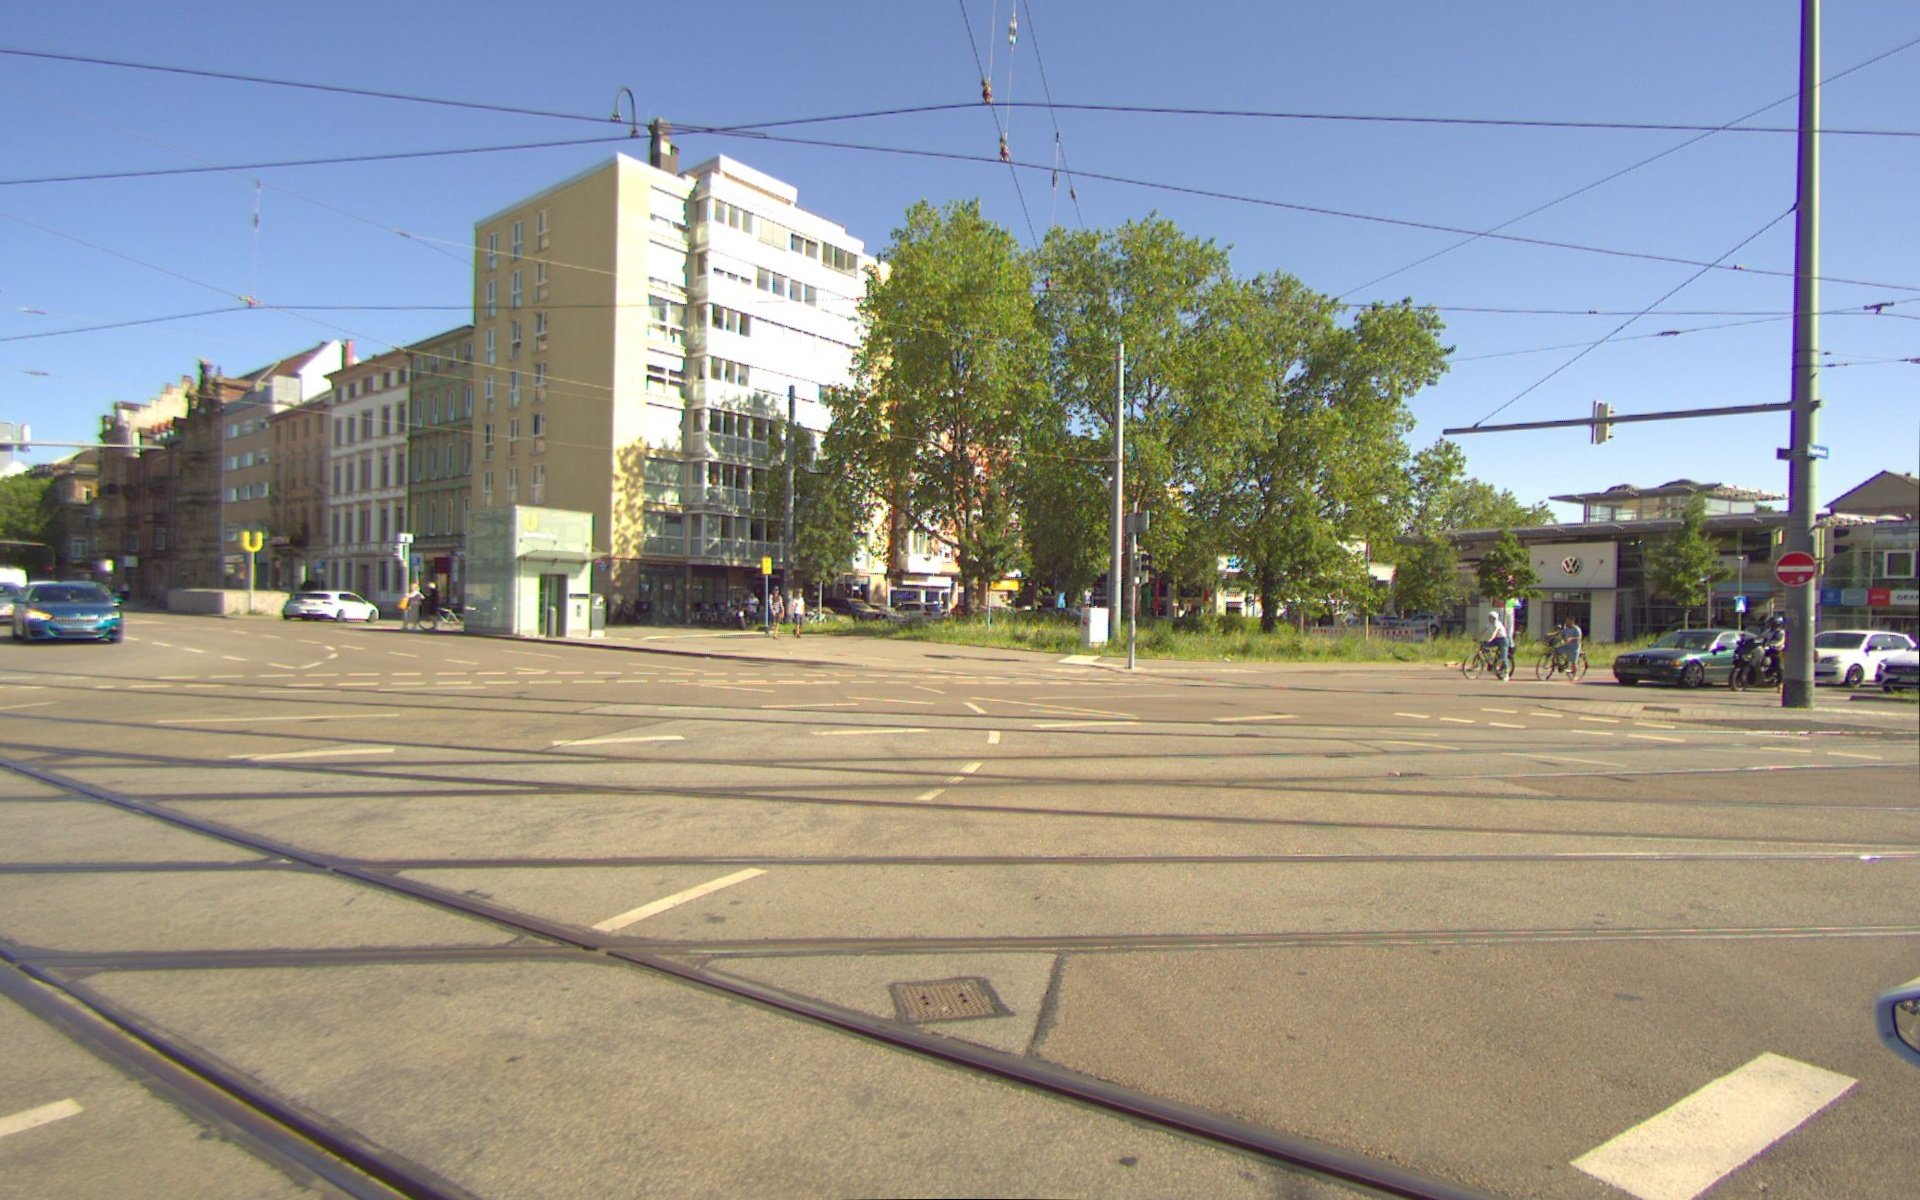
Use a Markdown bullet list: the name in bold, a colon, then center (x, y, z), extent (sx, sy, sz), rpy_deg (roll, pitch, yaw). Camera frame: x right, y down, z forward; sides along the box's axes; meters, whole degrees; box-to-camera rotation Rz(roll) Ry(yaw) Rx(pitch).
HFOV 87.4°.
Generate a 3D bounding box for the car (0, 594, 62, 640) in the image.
- **car**: center (-31.522, 0.522, 33.110), extent (3.932, 1.379, 1.909), rpy_deg (1, 0, 33)

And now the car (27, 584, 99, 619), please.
- **car**: center (-38.598, 0.043, 43.178), extent (4.533, 1.346, 1.788), rpy_deg (2, 0, 42)

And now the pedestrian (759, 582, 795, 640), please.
- **pedestrian**: center (-6.626, 0.386, 36.375), extent (0.864, 2.057, 0.846), rpy_deg (1, 2, -45)

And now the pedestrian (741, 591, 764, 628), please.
- **pedestrian**: center (-9.310, 0.420, 45.068), extent (0.744, 1.643, 0.653), rpy_deg (3, 1, 19)

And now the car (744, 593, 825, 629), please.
- **car**: center (-9.357, 0.569, 53.417), extent (3.932, 1.831, 1.994), rpy_deg (1, 0, 34)

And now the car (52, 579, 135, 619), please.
- **car**: center (-32.815, -0.046, 37.989), extent (4.533, 1.346, 1.788), rpy_deg (2, 0, 42)

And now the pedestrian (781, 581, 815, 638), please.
- **pedestrian**: center (-5.980, 0.347, 37.032), extent (0.864, 2.057, 0.846), rpy_deg (1, 2, -45)

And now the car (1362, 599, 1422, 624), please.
- **car**: center (34.534, 0.880, 80.311), extent (1.976, 1.780, 3.969), rpy_deg (2, 1, -29)

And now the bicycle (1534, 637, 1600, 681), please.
- **bicycle**: center (15.779, 1.517, 26.102), extent (1.629, 1.088, 0.537), rpy_deg (1, 0, -19)

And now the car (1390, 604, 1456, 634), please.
- **car**: center (34.663, 1.404, 75.196), extent (1.983, 2.041, 3.955), rpy_deg (1, 2, -38)

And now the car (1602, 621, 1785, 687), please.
- **car**: center (17.777, 1.301, 24.372), extent (3.908, 1.498, 1.648), rpy_deg (2, -1, -18)

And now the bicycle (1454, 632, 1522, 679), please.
- **bicycle**: center (13.778, 1.430, 26.229), extent (1.726, 1.200, 0.537), rpy_deg (1, 0, -19)

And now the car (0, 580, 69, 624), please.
- **car**: center (-31.152, 0.027, 32.902), extent (4.521, 1.346, 1.792), rpy_deg (2, 0, 33)

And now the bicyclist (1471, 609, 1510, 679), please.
- **bicyclist**: center (13.844, 1.137, 26.224), extent (0.667, 1.766, 0.573), rpy_deg (0, 2, -18)

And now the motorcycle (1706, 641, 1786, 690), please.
- **motorcycle**: center (17.592, 1.460, 22.479), extent (1.719, 1.061, 0.518), rpy_deg (1, -1, -17)

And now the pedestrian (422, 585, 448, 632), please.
- **pedestrian**: center (-19.803, 0.321, 37.872), extent (0.711, 1.728, 0.608), rpy_deg (1, 2, -41)

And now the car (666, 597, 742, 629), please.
- **car**: center (-12.783, 0.625, 50.029), extent (3.941, 1.519, 1.734), rpy_deg (1, 0, 41)

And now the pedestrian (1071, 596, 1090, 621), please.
- **pedestrian**: center (10.296, 0.711, 85.786), extent (1.088, 2.041, 1.175), rpy_deg (3, 2, 30)

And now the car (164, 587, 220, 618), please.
- **car**: center (-46.338, 0.146, 60.563), extent (3.942, 1.688, 1.989), rpy_deg (4, 2, 42)

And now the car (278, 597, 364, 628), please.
- **car**: center (-32.602, 0.611, 51.366), extent (1.782, 1.379, 3.999), rpy_deg (2, 1, 0)

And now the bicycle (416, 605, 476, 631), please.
- **bicycle**: center (-19.780, 0.707, 38.677), extent (1.934, 0.934, 0.612), rpy_deg (1, 2, -43)

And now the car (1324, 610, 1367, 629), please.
- **car**: center (39.902, 2.035, 104.028), extent (3.949, 1.822, 1.986), rpy_deg (2, 1, -27)

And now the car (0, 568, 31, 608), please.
- **car**: center (-79.613, -1.005, 83.974), extent (4.843, 3.149, 1.993), rpy_deg (3, 2, 37)

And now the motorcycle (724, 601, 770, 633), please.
- **motorcycle**: center (-9.153, 0.720, 43.039), extent (1.273, 1.193, 2.951), rpy_deg (2, 1, -25)

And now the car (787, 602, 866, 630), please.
- **car**: center (-7.265, 0.863, 54.545), extent (3.932, 1.407, 1.994), rpy_deg (1, 0, 34)

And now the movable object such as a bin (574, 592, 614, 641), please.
- **movable object such as a bin**: center (-13.087, 0.582, 35.939), extent (0.976, 1.656, 0.933), rpy_deg (3, 2, 38)

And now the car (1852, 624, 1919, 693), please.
- **car**: center (23.324, 1.399, 23.386), extent (4.469, 1.451, 1.801), rpy_deg (2, 1, -18)

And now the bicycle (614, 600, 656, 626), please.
- **bicycle**: center (-16.327, 0.661, 50.511), extent (0.609, 1.233, 1.939), rpy_deg (3, 2, 40)

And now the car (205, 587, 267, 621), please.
- **car**: center (-39.908, 0.216, 55.346), extent (3.942, 1.688, 1.989), rpy_deg (4, 2, 42)

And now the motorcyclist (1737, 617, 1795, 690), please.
- **motorcyclist**: center (18.178, 1.209, 22.657), extent (0.928, 1.600, 0.585), rpy_deg (2, -1, -17)

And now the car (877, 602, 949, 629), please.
- **car**: center (-2.868, 0.900, 60.700), extent (3.932, 1.519, 1.994), rpy_deg (1, 0, 34)

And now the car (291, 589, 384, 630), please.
- **car**: center (-29.952, 0.409, 48.492), extent (1.961, 1.776, 3.999), rpy_deg (2, 1, 0)

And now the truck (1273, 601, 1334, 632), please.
- **truck**: center (26.987, 1.283, 79.061), extent (1.978, 2.251, 4.179), rpy_deg (2, 1, -32)

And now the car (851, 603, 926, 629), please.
- **car**: center (-4.195, 0.920, 58.779), extent (3.932, 1.407, 1.994), rpy_deg (1, 0, 34)

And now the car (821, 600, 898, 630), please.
- **car**: center (-5.679, 0.810, 56.436), extent (3.932, 1.586, 1.994), rpy_deg (1, 0, 34)

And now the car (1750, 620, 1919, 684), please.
- **car**: center (23.211, 1.368, 26.512), extent (3.937, 1.451, 1.801), rpy_deg (2, 1, -18)

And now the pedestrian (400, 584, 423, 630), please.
- **pedestrian**: center (-21.031, 0.275, 38.497), extent (0.610, 1.728, 0.708), rpy_deg (1, 2, -40)

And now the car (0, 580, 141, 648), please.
- **car**: center (-22.390, 0.300, 24.837), extent (4.519, 1.477, 1.909), rpy_deg (2, 0, 31)

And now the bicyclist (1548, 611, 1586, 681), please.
- **bicyclist**: center (15.731, 1.177, 26.035), extent (0.592, 1.766, 0.573), rpy_deg (0, 2, -18)
